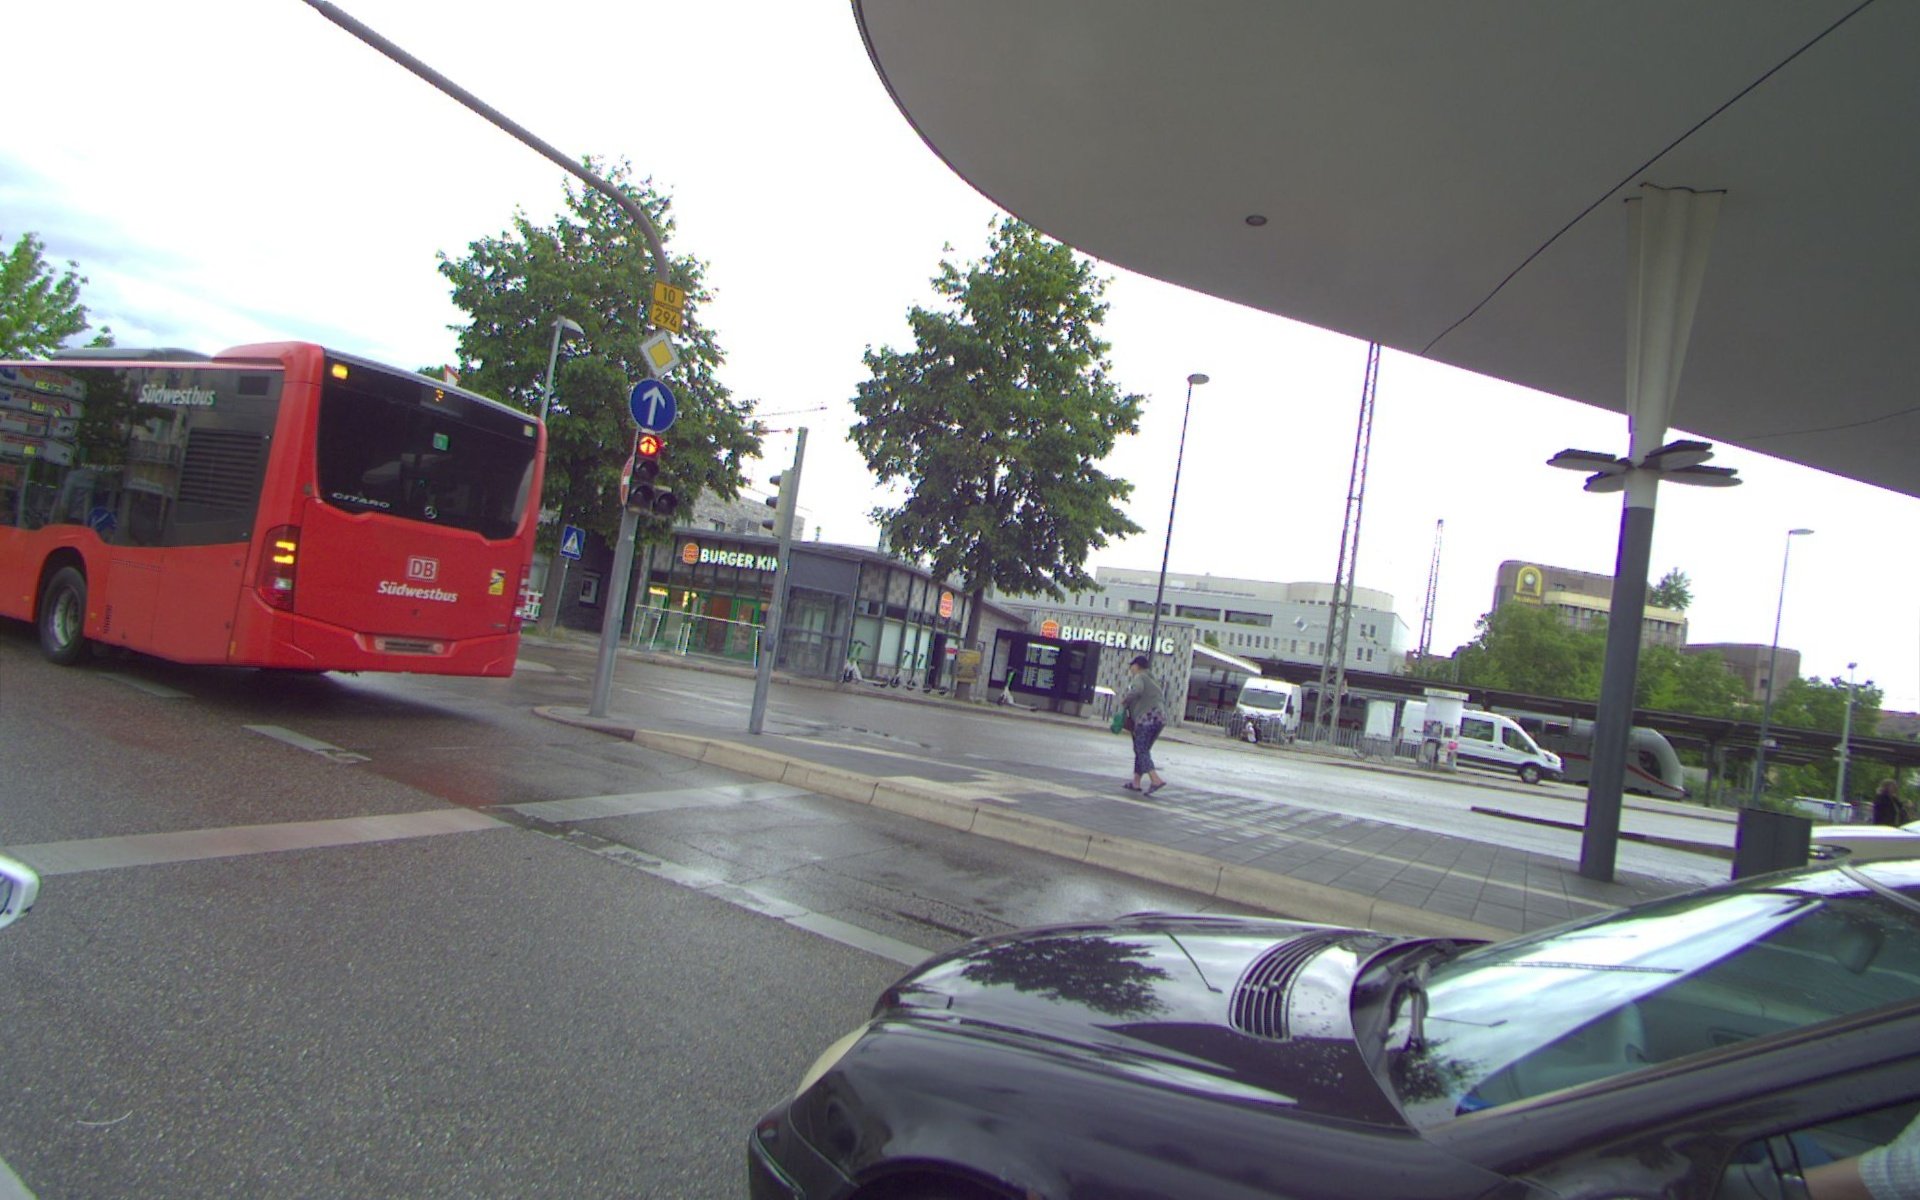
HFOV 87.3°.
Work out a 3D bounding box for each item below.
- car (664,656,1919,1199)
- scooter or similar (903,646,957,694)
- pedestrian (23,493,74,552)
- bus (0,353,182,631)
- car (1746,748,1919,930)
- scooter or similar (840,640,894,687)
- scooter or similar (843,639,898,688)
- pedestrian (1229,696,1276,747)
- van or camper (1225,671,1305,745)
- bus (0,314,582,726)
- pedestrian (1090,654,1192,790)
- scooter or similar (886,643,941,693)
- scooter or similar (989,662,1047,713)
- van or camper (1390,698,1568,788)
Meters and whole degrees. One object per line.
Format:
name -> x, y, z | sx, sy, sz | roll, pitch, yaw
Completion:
car -> 1.780, 1.165, 1.480 | 4.362, 1.493, 1.754 | 5, -8, 31
scooter or similar -> -0.948, 2.156, 31.172 | 1.503, 1.284, 0.467 | 8, -1, -4
pedestrian -> -34.858, -2.948, 38.483 | 0.904, 2.036, 0.815 | 8, -1, 8
bus -> -15.875, -1.843, 14.729 | 10.015, 3.210, 2.752 | 7, -2, 27
car -> 11.234, 2.788, 10.564 | 4.360, 1.665, 1.807 | 7, -5, 32
scooter or similar -> -2.628, 1.801, 28.418 | 1.313, 1.157, 0.464 | 9, -2, -31
scooter or similar -> -2.460, 1.751, 27.760 | 1.309, 1.167, 0.465 | 9, -2, -21
pedestrian -> 10.124, 4.210, 34.838 | 0.910, 1.552, 1.096 | 9, -2, -36
van or camper -> 12.541, 4.404, 41.012 | 2.072, 2.491, 5.975 | 7, -3, 25
bus -> -8.179, -0.905, 10.833 | 7.978, 3.210, 2.751 | 7, -2, 27
pedestrian -> 2.039, 1.360, 11.291 | 0.753, 1.374, 0.738 | 7, -3, 31
scooter or similar -> -1.411, 2.057, 30.347 | 1.503, 1.284, 0.467 | 8, -1, -4
scooter or similar -> 1.713, 2.589, 29.774 | 1.503, 1.284, 0.467 | 8, -1, -4
van or camper -> 20.340, 5.540, 39.543 | 5.873, 2.491, 2.108 | 7, -2, 32
